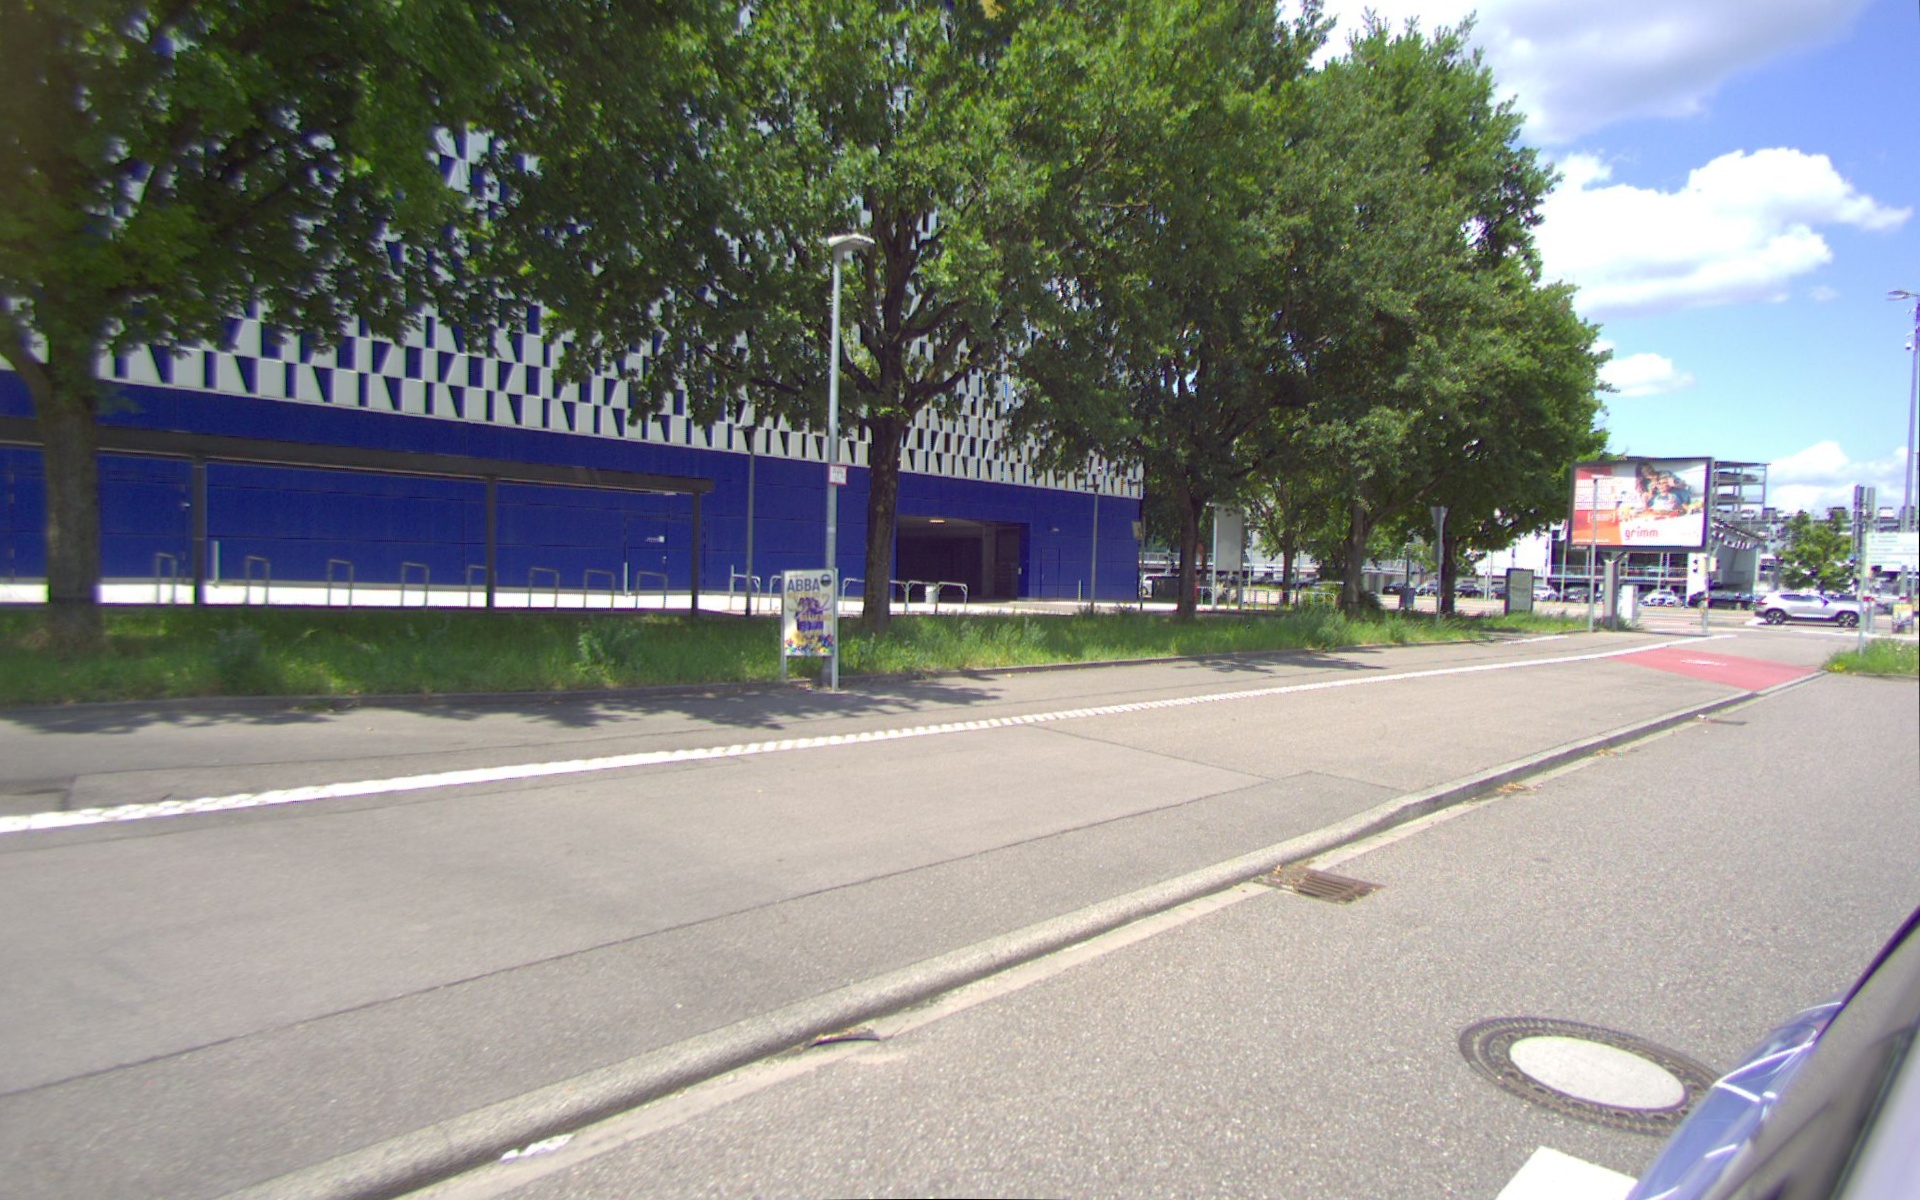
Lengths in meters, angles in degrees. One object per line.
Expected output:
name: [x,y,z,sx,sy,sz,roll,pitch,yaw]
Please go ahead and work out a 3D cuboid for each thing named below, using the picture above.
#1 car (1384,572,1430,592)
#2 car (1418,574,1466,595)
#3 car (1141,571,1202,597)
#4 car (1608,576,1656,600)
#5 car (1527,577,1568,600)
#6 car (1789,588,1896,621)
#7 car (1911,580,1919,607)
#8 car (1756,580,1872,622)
car: [38.371,-1.540,86.875,3.923,1.571,1.799,1,3,-35]
car: [40.393,-1.288,84.808,3.923,1.571,1.799,1,3,-35]
car: [15.518,-1.184,74.242,3.986,1.712,1.830,5,3,42]
car: [50.328,-0.906,75.774,3.927,1.593,1.842,1,3,-39]
car: [46.140,-0.896,79.411,3.698,1.749,1.859,0,3,-45]
car: [52.680,0.222,60.553,4.680,1.651,1.972,4,3,39]
car: [65.924,-0.325,67.201,3.989,1.804,1.968,5,3,44]
car: [41.575,0.004,49.314,4.179,1.748,1.835,3,4,44]
